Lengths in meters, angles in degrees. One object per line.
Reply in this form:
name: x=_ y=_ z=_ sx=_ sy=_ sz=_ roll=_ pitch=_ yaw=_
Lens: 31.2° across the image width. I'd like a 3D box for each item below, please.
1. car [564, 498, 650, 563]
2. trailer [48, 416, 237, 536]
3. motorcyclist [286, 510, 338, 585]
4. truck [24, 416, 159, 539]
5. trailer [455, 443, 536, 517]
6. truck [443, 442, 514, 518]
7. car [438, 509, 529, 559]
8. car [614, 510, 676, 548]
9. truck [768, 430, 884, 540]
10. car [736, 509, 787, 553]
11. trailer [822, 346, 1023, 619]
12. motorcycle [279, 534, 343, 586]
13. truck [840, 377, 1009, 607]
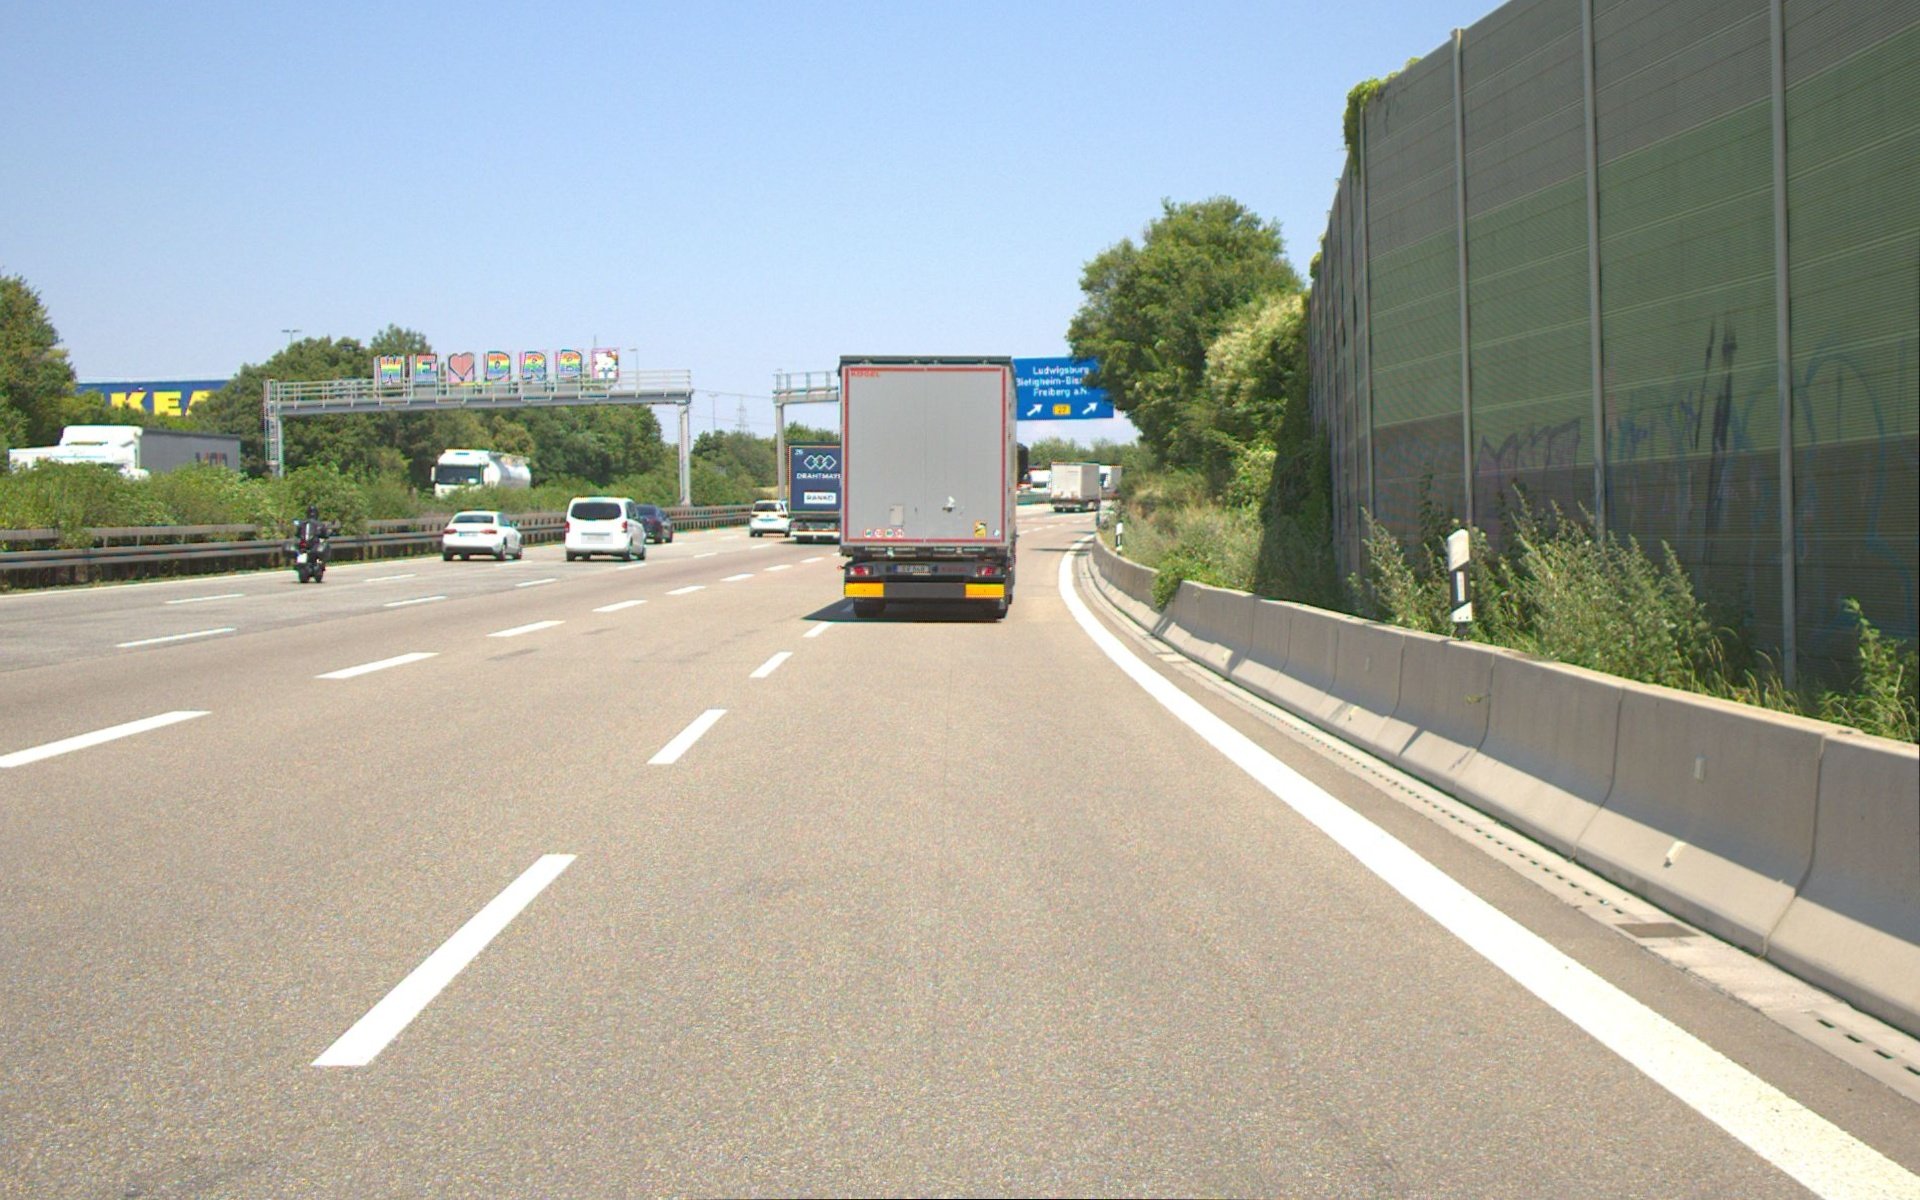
car: x=-10.402 y=-2.032 z=101.629 sx=1.930 sy=1.845 sz=4.692 roll=-1 pitch=0 yaw=2
trailer: x=-29.540 y=-4.448 z=125.026 sx=3.392 sy=4.075 sz=13.928 roll=1 pitch=2 yaw=1
motorcyclist: x=-13.812 y=-1.118 z=73.299 sx=0.893 sy=1.591 sz=1.299 roll=0 pitch=1 yaw=-2
truck: x=-29.621 y=-4.174 z=117.468 sx=3.332 sy=4.075 sz=4.828 roll=1 pitch=1 yaw=1
trailer: x=-24.876 y=-6.436 z=184.541 sx=2.690 sy=3.875 sz=9.734 roll=1 pitch=2 yaw=2
truck: x=-25.080 y=-6.263 z=179.250 sx=2.695 sy=3.875 sz=5.745 roll=1 pitch=2 yaw=2
car: x=-13.950 y=-1.917 z=100.795 sx=1.876 sy=1.435 sz=5.126 roll=0 pitch=1 yaw=1
car: x=-12.173 y=-2.779 z=133.196 sx=1.757 sy=1.404 sz=5.040 roll=-1 pitch=2 yaw=2
truck: x=-5.395 y=-4.762 z=141.590 sx=3.747 sy=4.255 sz=14.496 roll=1 pitch=2 yaw=2
car: x=-8.814 y=-3.098 z=152.941 sx=1.904 sy=1.845 sz=4.631 roll=-1 pitch=2 yaw=1
trailer: x=-0.627 y=-1.843 z=56.741 sx=2.928 sy=4.001 sz=12.039 roll=-1 pitch=1 yaw=-1
motorcycle: x=-13.808 y=-0.858 z=73.234 sx=0.912 sy=1.085 sz=2.850 roll=0 pitch=1 yaw=-2
truck: x=-0.671 y=-1.989 z=64.136 sx=2.928 sy=4.001 sz=7.584 roll=-1 pitch=1 yaw=-1
